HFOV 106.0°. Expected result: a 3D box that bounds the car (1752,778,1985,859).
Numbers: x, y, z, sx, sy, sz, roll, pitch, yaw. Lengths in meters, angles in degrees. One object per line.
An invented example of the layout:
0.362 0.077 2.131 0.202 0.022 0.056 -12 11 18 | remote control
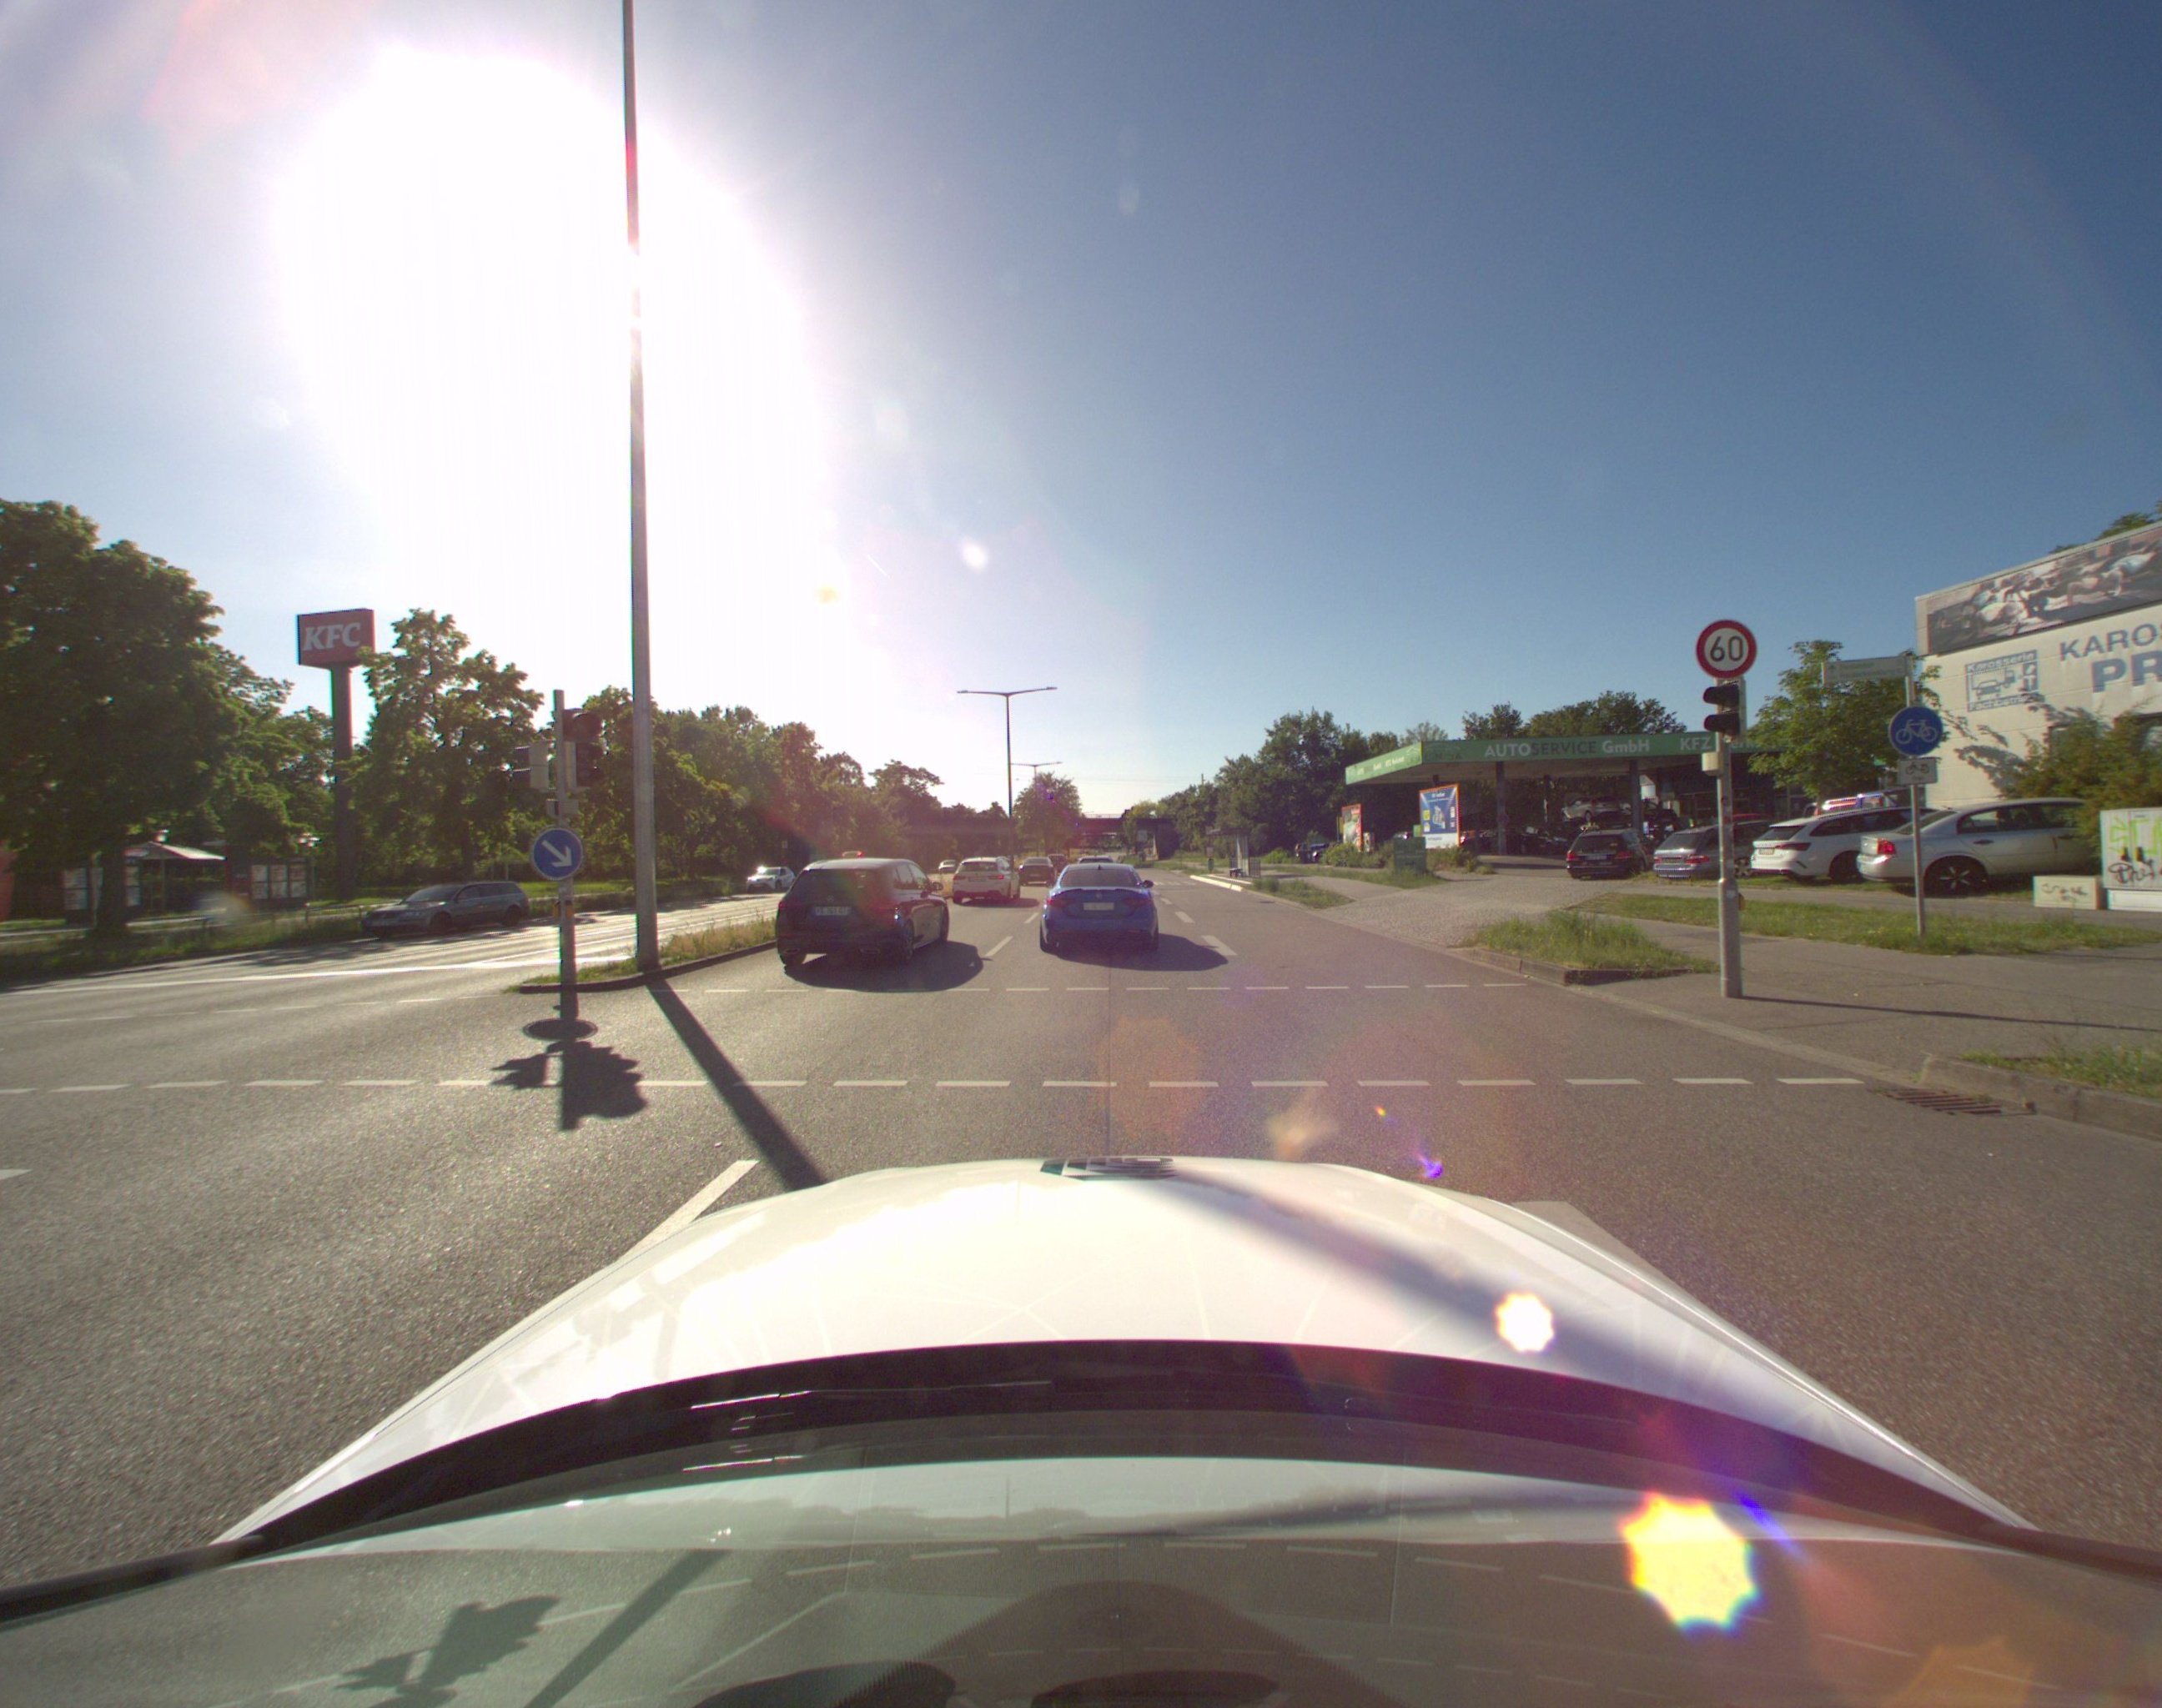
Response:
20.938 -0.845 21.978 1.678 1.783 4.594 -5 -1 0 | car

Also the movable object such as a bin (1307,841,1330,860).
17.592 -0.261 60.322 0.994 1.428 1.246 -1 0 -41 | movable object such as a bin

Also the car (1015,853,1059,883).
-2.203 0.715 42.230 1.876 1.454 4.528 0 0 2 | car

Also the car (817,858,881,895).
-11.741 1.097 41.452 1.867 1.642 4.172 -3 0 2 | car

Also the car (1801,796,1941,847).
31.278 -1.269 32.344 3.677 1.907 1.925 0 0 1 | car

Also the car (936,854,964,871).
-13.425 0.851 83.448 1.986 1.684 4.178 -3 0 2 | car

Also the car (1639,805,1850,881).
16.426 -0.251 20.323 3.592 1.290 1.842 -9 -1 3 | car

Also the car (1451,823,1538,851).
23.684 -0.954 46.761 2.008 1.486 3.957 0 0 -35 | car

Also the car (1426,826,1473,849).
26.852 -1.172 59.527 1.707 1.607 4.137 0 0 2 | car

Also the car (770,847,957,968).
-3.203 0.716 12.910 1.701 1.598 4.225 0 0 2 | car

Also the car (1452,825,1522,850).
27.934 -1.109 56.133 3.977 1.516 1.696 -3 -1 -3 | car

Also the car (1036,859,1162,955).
0.336 0.806 14.337 1.876 1.406 4.225 0 0 2 | car

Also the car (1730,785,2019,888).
16.393 -0.343 17.056 3.892 1.452 1.731 -9 -1 12 | car

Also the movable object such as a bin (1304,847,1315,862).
17.159 0.039 61.146 0.585 1.121 0.504 -1 0 -40 | movable object such as a bin

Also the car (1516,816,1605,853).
22.789 -0.906 38.917 1.986 1.647 4.001 0 0 2 | car

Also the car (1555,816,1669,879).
16.178 -0.241 24.694 1.877 1.531 4.865 -5 0 45 | car

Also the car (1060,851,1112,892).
0.252 0.644 31.641 1.876 1.454 4.528 0 0 2 | car

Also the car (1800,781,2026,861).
23.062 -0.836 22.855 1.887 1.861 4.215 -5 -1 -1 | car

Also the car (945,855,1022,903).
-3.152 0.767 27.119 1.876 1.454 4.528 0 0 2 | car

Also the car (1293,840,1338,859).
19.047 -0.333 66.245 3.270 1.486 1.773 0 0 3 | car

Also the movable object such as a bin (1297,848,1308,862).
16.730 0.070 61.462 0.585 1.074 0.504 -1 0 -40 | movable object such as a bin

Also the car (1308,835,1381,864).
18.560 -0.308 57.399 4.501 1.640 1.813 -5 -1 31 | car

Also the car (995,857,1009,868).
-11.926 1.282 123.203 1.635 1.451 4.113 -4 0 1 | car

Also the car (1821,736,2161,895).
15.685 -0.614 13.999 3.948 2.013 1.697 -9 -1 34 | car

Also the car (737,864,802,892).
-17.938 1.349 47.110 1.986 1.474 4.197 -2 0 2 | car

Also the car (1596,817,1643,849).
25.237 -0.989 38.107 1.671 1.421 3.727 -1 1 36 | car

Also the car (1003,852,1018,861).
-11.562 0.400 133.283 1.811 1.435 4.632 -4 0 1 | car

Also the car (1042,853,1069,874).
-1.927 0.727 62.199 1.773 1.454 4.183 -2 0 2 | car

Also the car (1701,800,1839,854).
27.294 -1.030 32.347 3.752 1.547 1.849 -7 -3 0 | car

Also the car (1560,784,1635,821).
29.206 -2.894 46.182 1.911 1.755 3.781 -3 -1 3 | car

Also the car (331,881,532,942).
-18.533 1.575 23.586 1.986 1.376 4.625 -2 0 2 | car
